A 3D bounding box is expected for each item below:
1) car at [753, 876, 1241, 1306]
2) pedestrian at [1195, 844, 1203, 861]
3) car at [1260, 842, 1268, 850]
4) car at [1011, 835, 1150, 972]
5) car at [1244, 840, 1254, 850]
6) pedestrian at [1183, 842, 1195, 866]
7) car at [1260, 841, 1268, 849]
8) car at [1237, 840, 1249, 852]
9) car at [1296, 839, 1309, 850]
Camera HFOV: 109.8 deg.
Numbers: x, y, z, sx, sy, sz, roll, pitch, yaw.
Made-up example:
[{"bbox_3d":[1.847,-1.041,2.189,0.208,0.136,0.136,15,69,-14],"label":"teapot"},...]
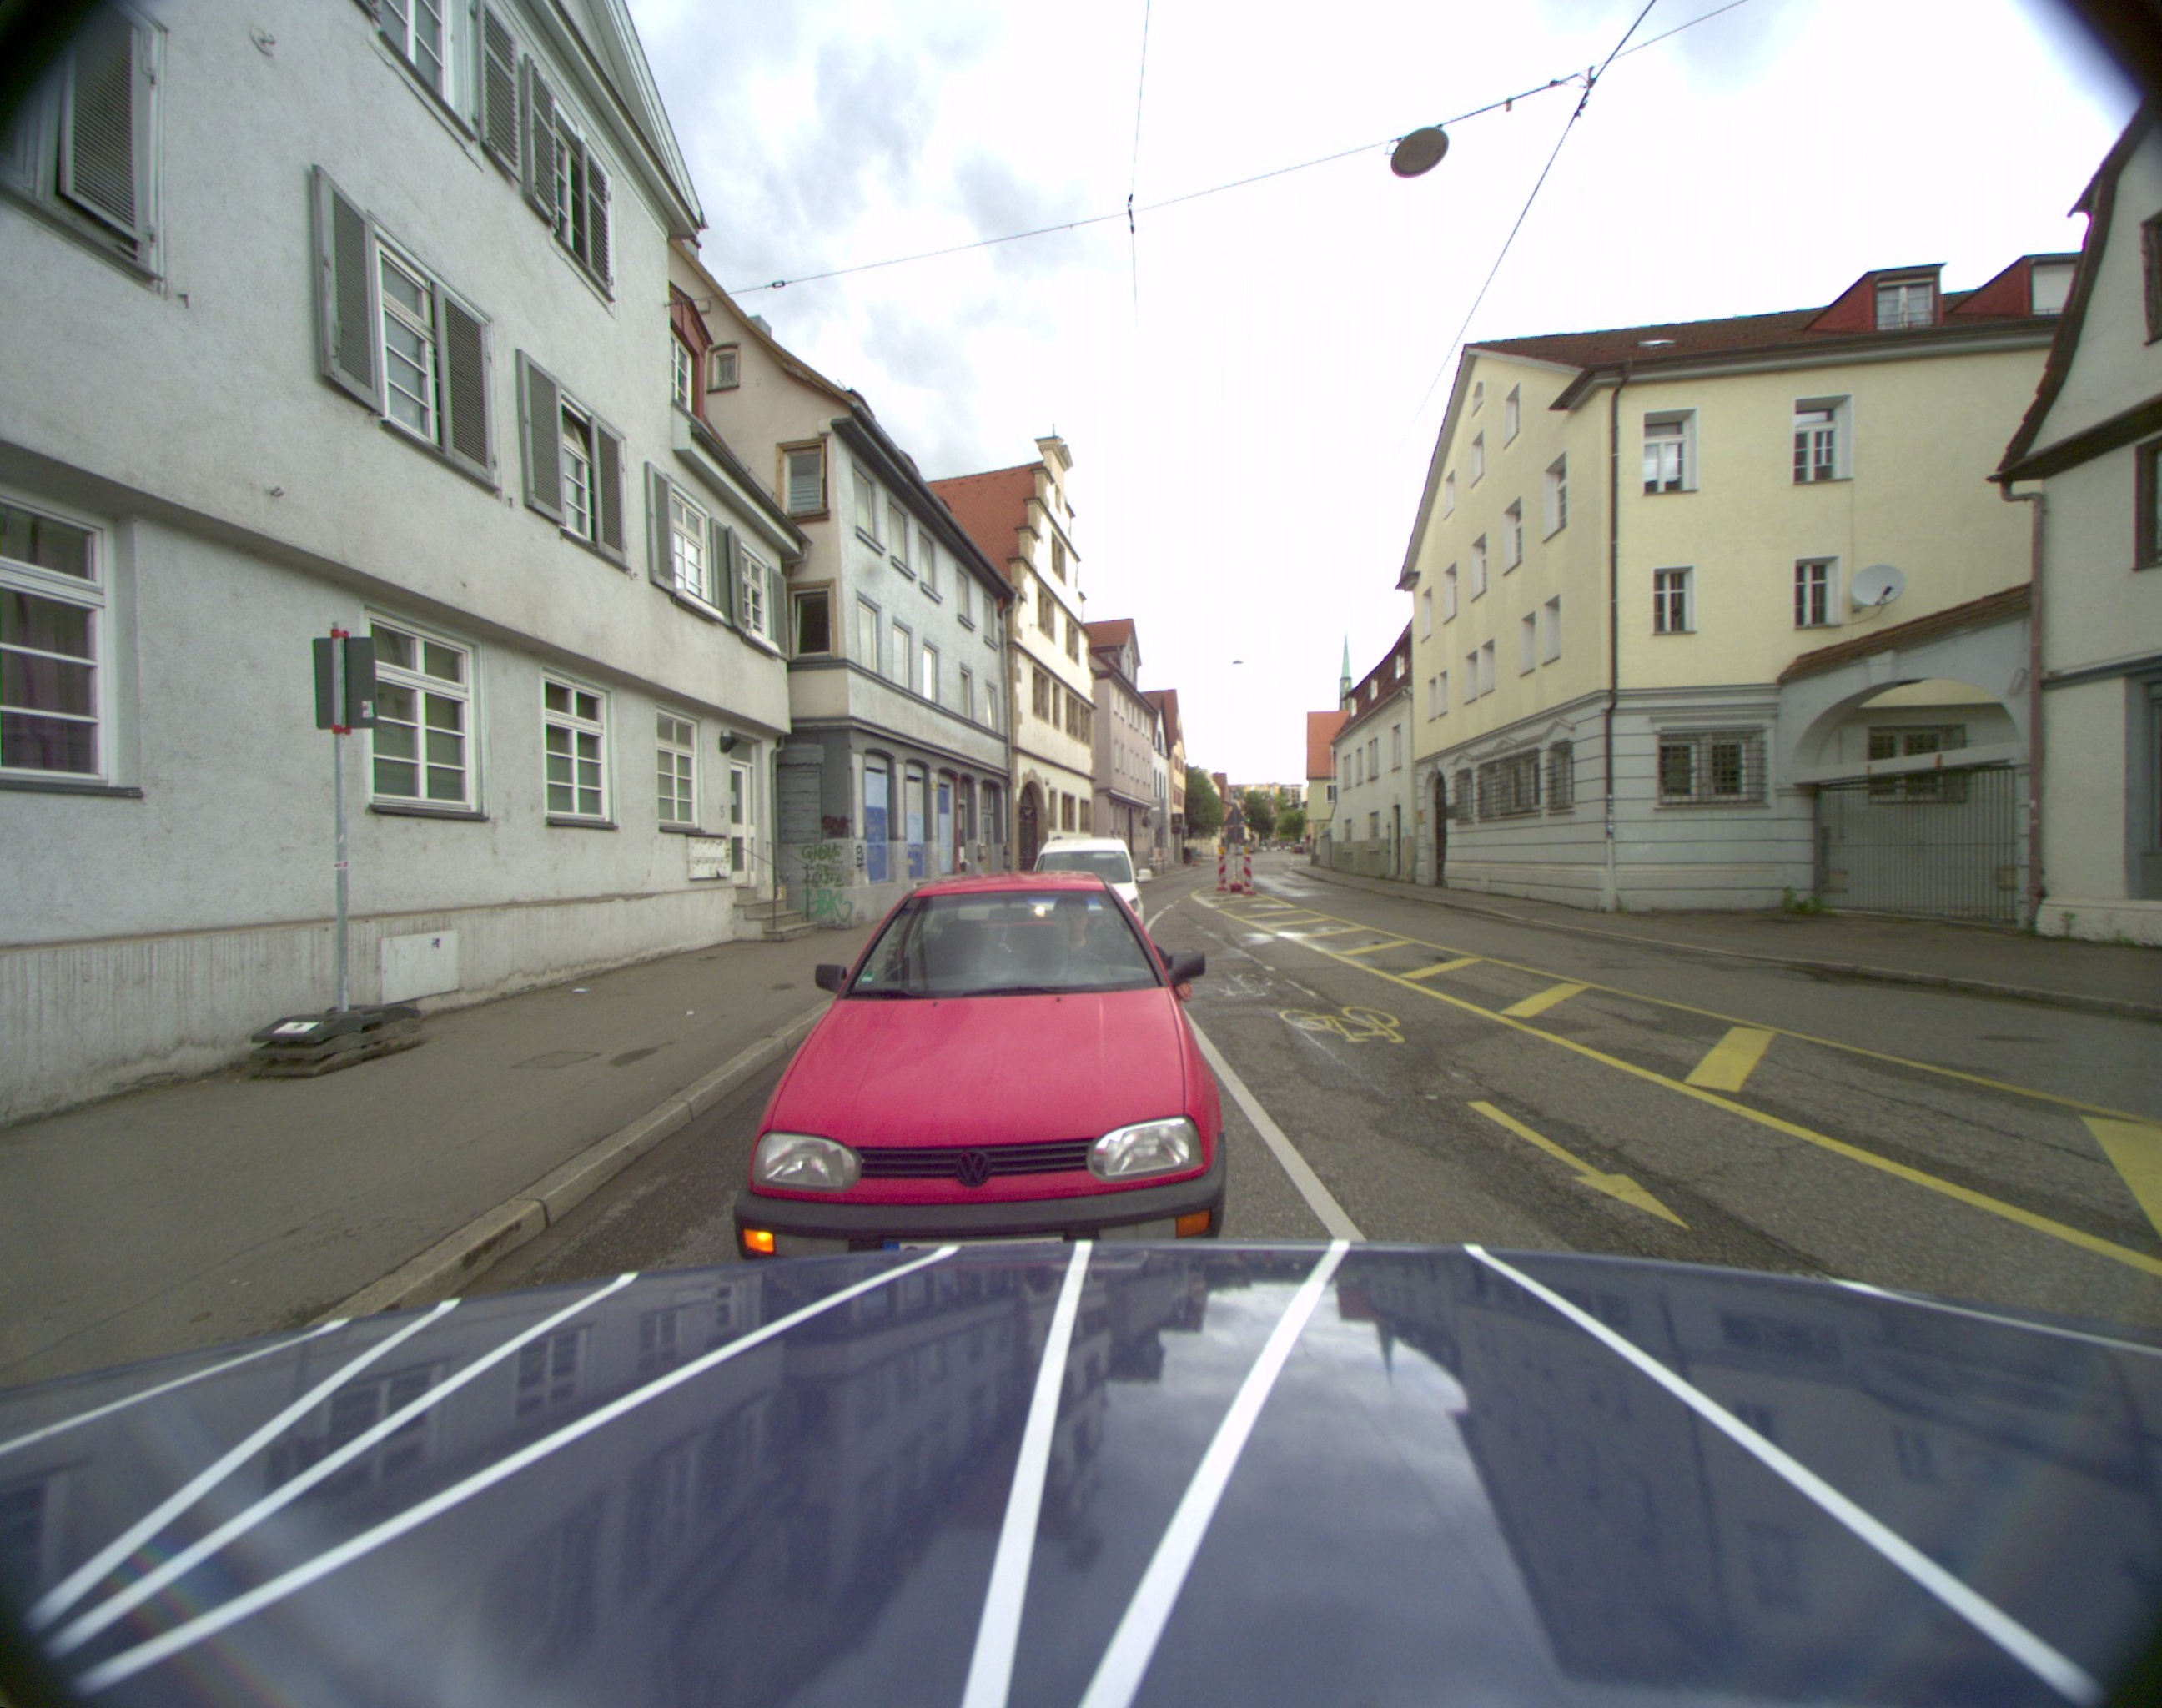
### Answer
[{"bbox_3d":[-0.298,0.983,4.949,1.804,1.458,4.000,-4,0,1],"label":"car"},{"bbox_3d":[12.554,-0.152,80.916,0.562,1.784,0.658,-1,0,-28],"label":"pedestrian"},{"bbox_3d":[48.478,-2.122,201.283,1.996,2.002,4.004,-1,0,13],"label":"car"},{"bbox_3d":[0.026,0.666,12.196,1.804,1.781,4.349,-1,0,1],"label":"car"},{"bbox_3d":[34.122,-1.770,154.244,1.996,2.002,4.004,-1,0,13],"label":"car"},{"bbox_3d":[8.633,-0.034,60.751,0.877,1.888,0.898,-1,0,14],"label":"pedestrian"},{"bbox_3d":[44.957,-2.171,186.809,1.996,2.002,4.004,-1,0,13],"label":"car"},{"bbox_3d":[28.456,-1.354,133.498,1.996,2.002,4.004,-1,0,13],"label":"car"},{"bbox_3d":[42.728,-1.788,146.578,2.057,2.002,4.004,-1,0,13],"label":"car"}]
